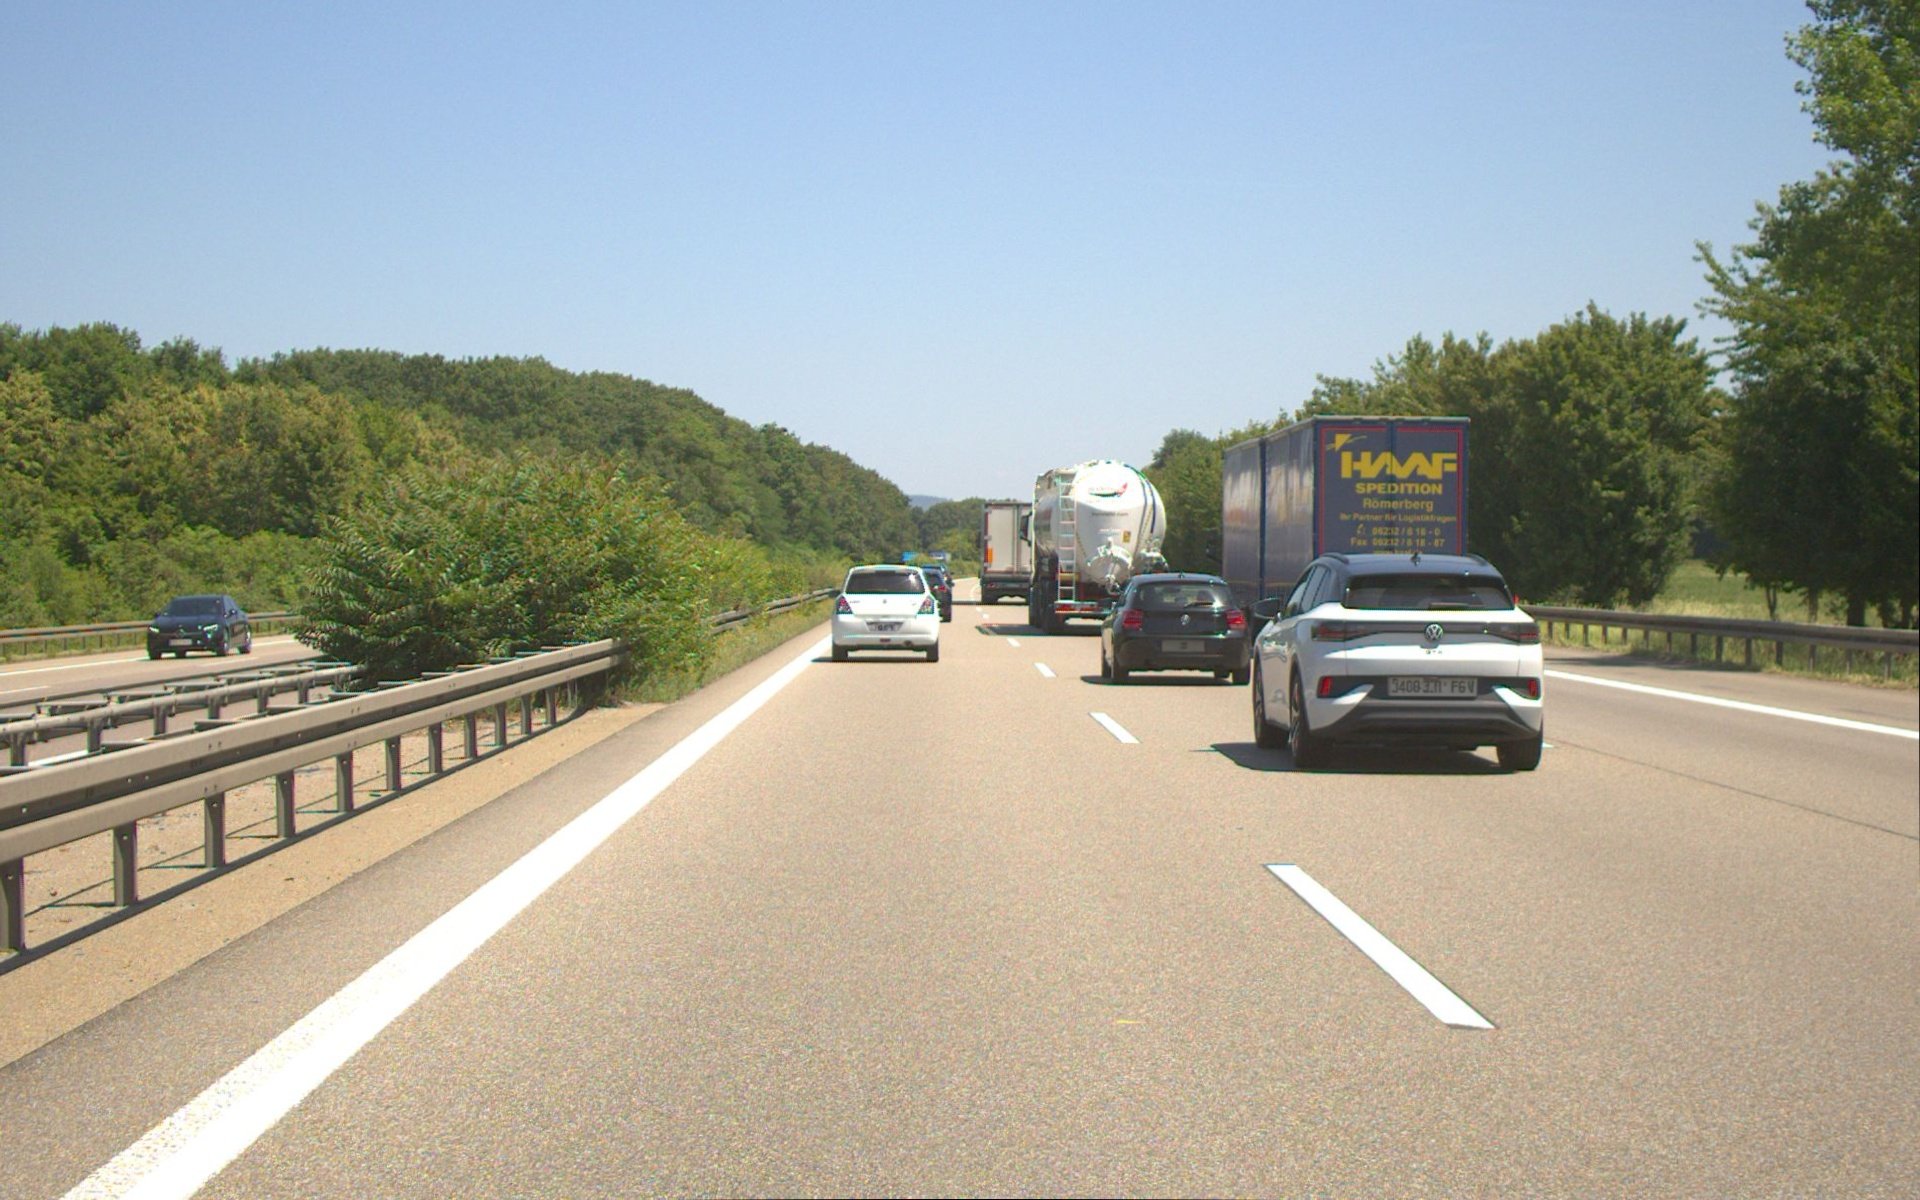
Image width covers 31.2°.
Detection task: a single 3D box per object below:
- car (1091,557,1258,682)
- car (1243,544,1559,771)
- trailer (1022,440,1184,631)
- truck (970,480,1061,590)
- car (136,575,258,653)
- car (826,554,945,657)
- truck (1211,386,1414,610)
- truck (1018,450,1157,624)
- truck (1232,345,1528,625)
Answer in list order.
[{"bbox_3d":[2.760,0.223,45.022,1.850,1.518,3.957,1,1,-1],"label":"car"},{"bbox_3d":[3.337,0.378,26.787,1.802,1.597,4.381,1,1,-1],"label":"car"},{"bbox_3d":[3.186,-1.472,79.983,2.911,4.055,12.419,1,1,-1],"label":"trailer"},{"bbox_3d":[2.160,-2.608,139.451,3.394,4.199,12.083,1,1,0],"label":"truck"},{"bbox_3d":[-17.875,0.307,80.735,1.924,1.711,4.288,-1,1,0],"label":"car"},{"bbox_3d":[-1.201,0.064,54.646,1.799,1.546,3.610,1,1,-2],"label":"car"},{"bbox_3d":[6.875,-1.968,68.254,3.109,4.124,8.056,1,1,0],"label":"truck"},{"bbox_3d":[3.079,-1.546,85.172,2.912,4.065,7.196,1,1,-2],"label":"truck"},{"bbox_3d":[6.889,-1.833,59.161,3.109,4.124,15.512,1,1,0],"label":"truck"}]
